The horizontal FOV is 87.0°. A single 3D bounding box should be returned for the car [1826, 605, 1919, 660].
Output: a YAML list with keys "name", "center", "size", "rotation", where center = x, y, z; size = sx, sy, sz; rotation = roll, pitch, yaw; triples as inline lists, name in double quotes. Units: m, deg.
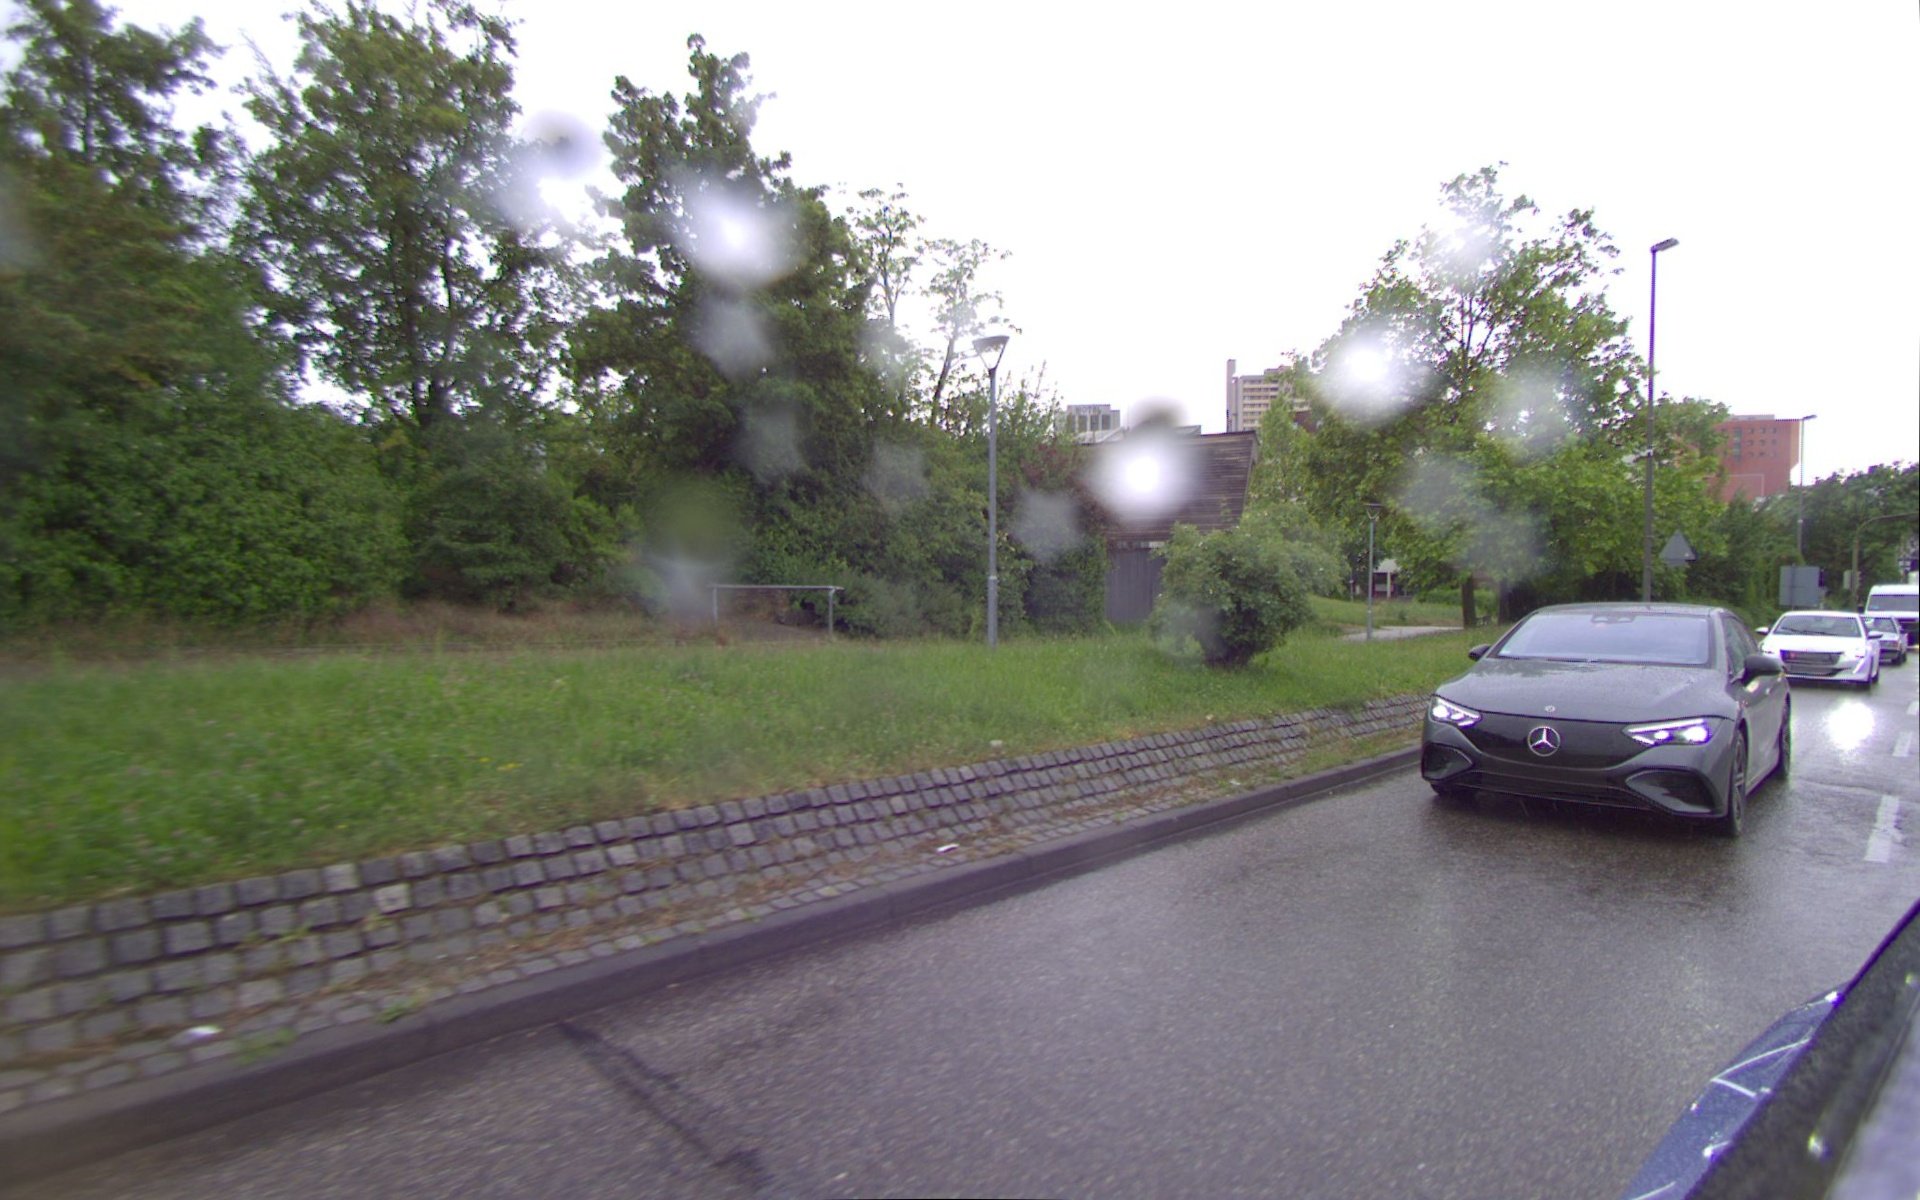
- name: "car"
  center: [26.003, 0.876, 28.689]
  size: [3.670, 1.394, 1.716]
  rotation: [-1, 0, -42]

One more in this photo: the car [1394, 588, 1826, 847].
- name: "car"
  center: [5.331, 0.660, 8.017]
  size: [4.474, 1.462, 1.833]
  rotation: [-1, 0, -43]

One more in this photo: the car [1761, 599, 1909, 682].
- name: "car"
  center: [17.428, 0.730, 20.107]
  size: [3.966, 1.415, 1.716]
  rotation: [-1, 0, -42]

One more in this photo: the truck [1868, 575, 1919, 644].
- name: "truck"
  center: [36.767, 0.287, 38.849]
  size: [6.093, 2.470, 2.167]
  rotation: [-1, 1, -42]
